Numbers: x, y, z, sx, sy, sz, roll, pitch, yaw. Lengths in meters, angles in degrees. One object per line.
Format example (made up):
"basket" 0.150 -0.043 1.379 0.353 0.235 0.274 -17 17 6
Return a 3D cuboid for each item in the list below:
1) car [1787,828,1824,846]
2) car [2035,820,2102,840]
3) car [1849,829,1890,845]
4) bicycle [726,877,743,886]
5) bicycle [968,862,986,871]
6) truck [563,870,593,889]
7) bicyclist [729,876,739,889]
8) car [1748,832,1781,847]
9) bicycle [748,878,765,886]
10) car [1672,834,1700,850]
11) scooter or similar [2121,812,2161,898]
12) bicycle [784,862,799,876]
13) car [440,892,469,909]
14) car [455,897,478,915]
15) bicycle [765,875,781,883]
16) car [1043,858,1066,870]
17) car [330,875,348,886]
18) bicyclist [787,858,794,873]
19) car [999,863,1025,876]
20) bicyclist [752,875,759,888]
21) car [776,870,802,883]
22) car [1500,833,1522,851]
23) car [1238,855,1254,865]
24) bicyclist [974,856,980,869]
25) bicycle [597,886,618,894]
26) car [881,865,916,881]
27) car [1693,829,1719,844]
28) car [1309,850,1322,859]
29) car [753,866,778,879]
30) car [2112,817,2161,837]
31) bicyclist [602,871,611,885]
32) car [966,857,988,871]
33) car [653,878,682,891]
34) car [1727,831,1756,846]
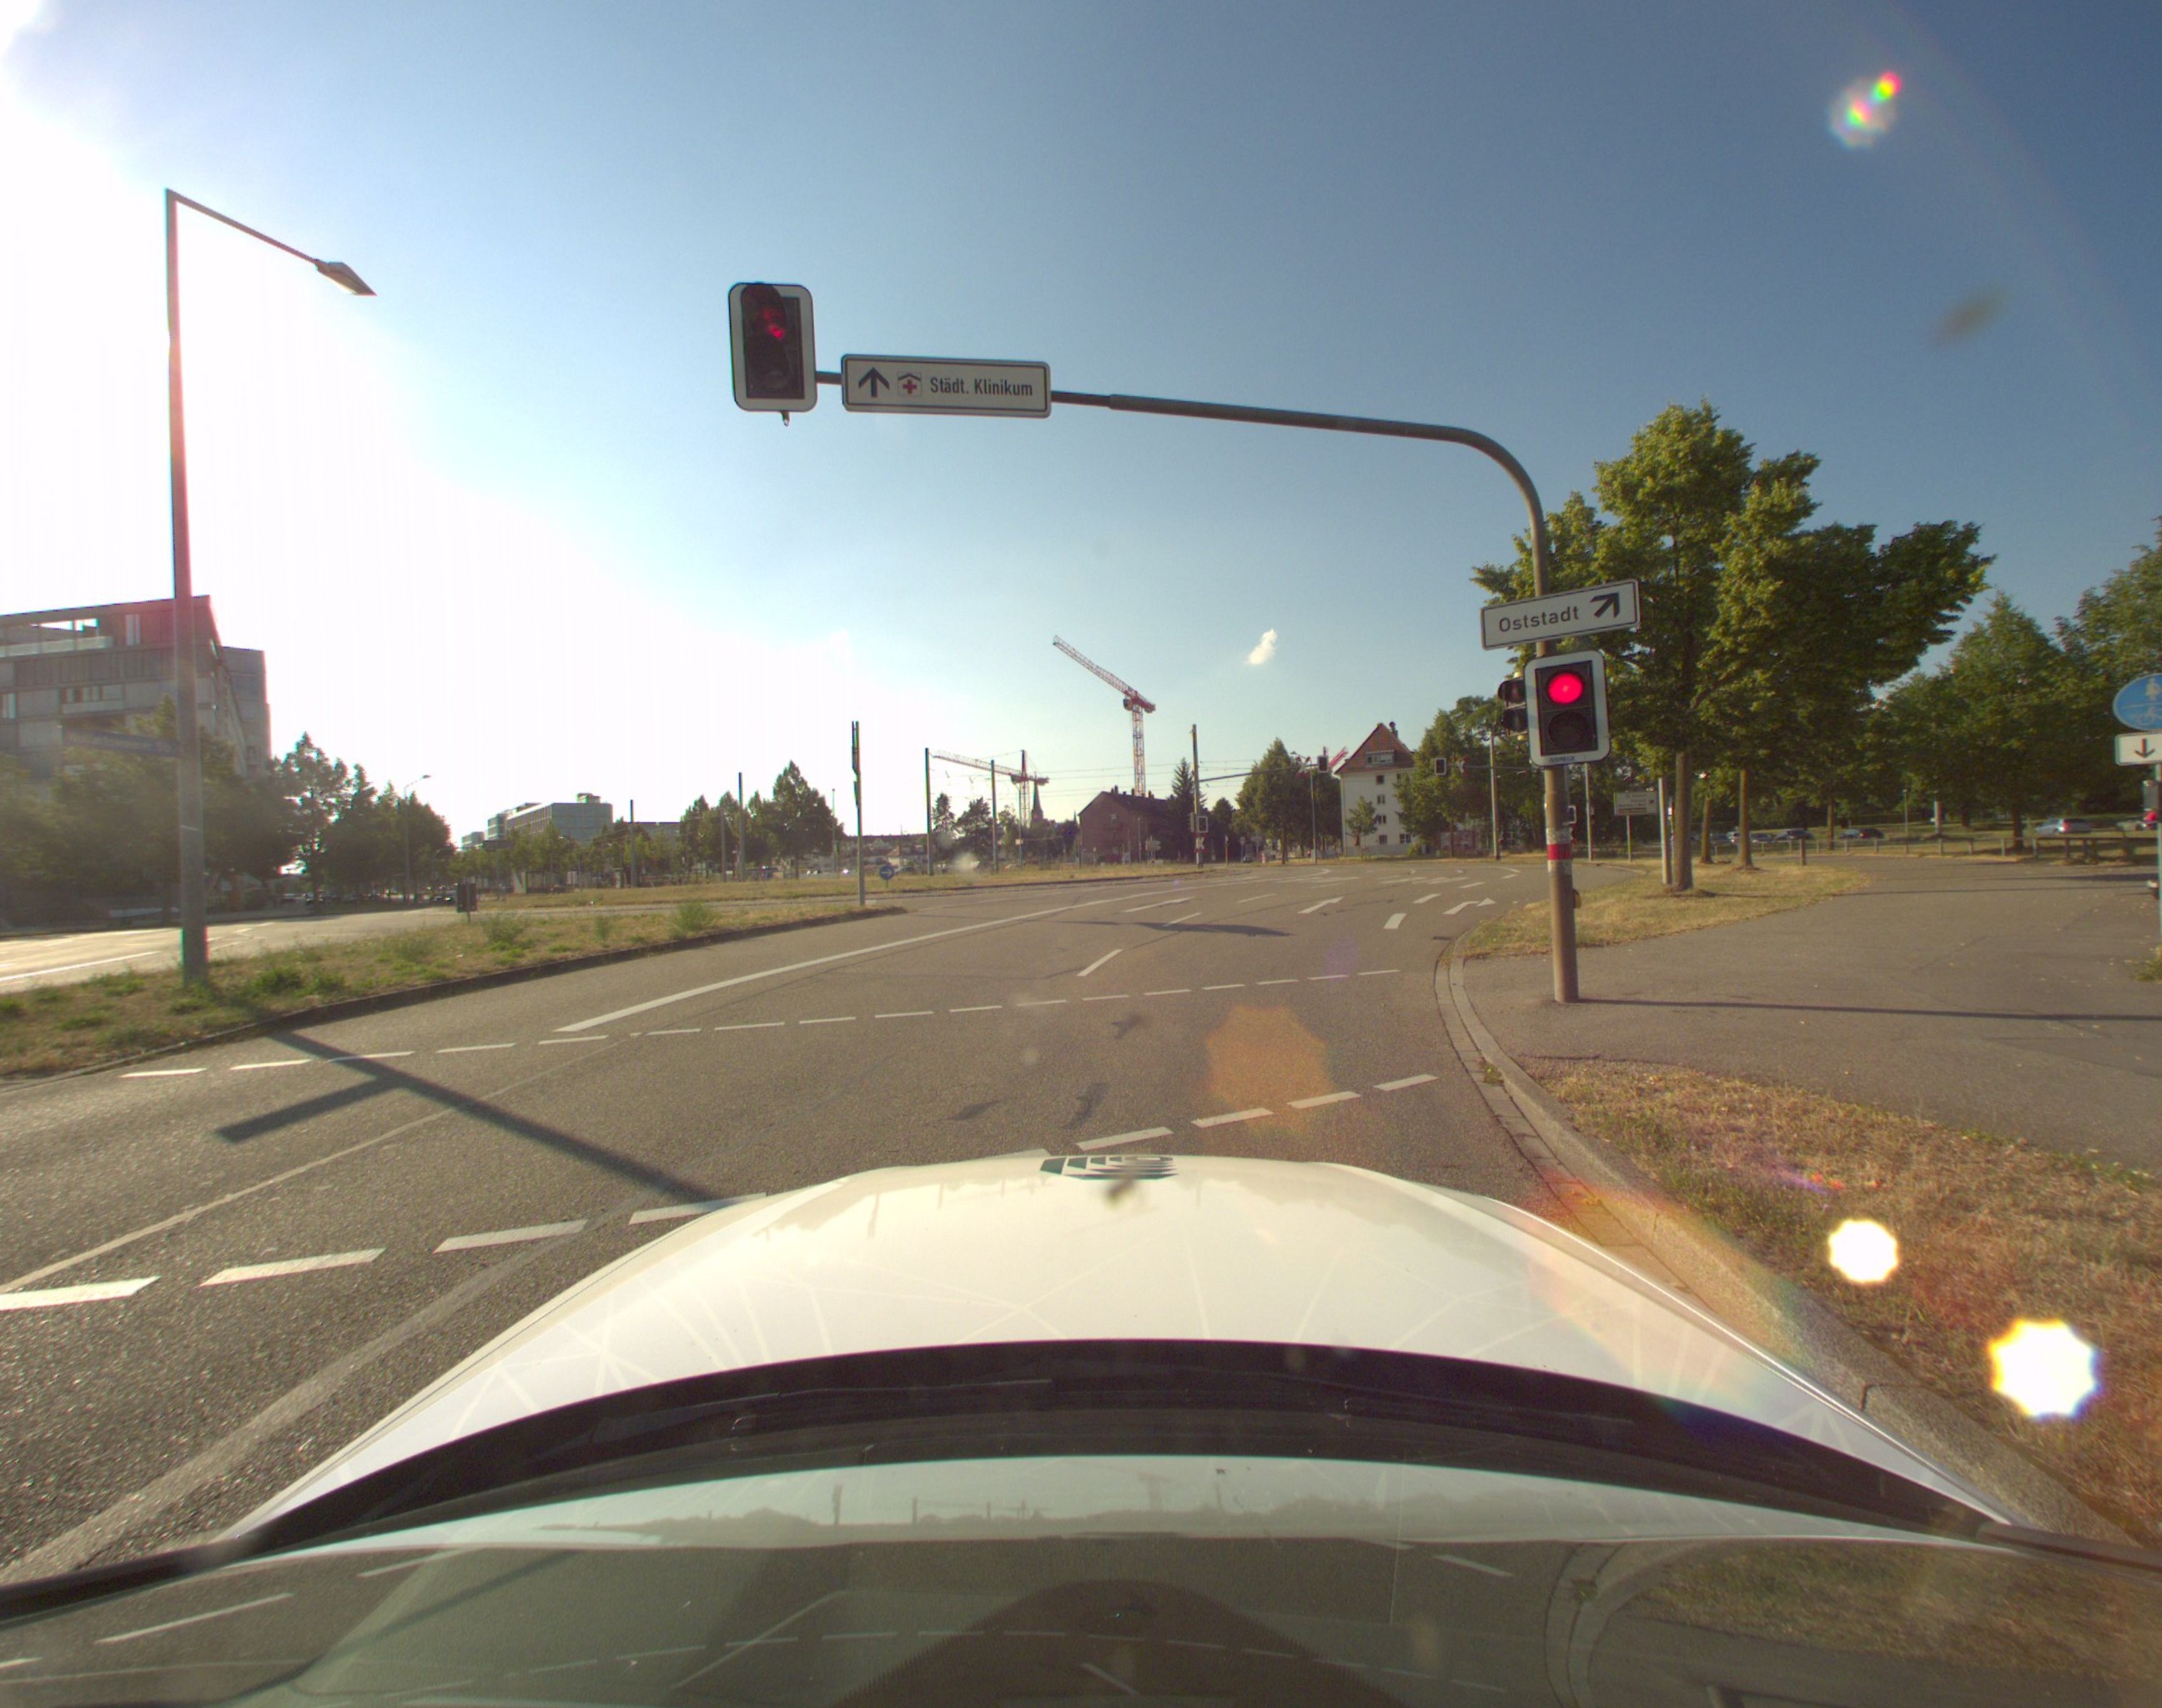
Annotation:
"car" 63.357 -1.475 71.290 1.586 1.402 3.993 -3 -1 30
"car" 78.277 -1.845 64.614 1.804 1.403 4.023 -3 -1 26
"car" 67.088 -1.422 69.357 1.586 1.310 3.993 -3 -1 30
"bicycle" -38.405 3.016 90.270 1.622 0.860 0.541 -2 0 -24
"bicycle" -12.308 1.463 96.476 1.983 0.918 0.429 -2 0 -4
"truck" -92.660 4.737 150.045 3.156 3.231 7.085 -2 0 -44
"bicyclist" -38.469 3.192 90.245 0.958 1.357 0.688 -2 0 -25
"car" 61.250 -1.270 73.046 1.586 1.221 3.993 -3 -1 30
"bicycle" -36.366 3.131 91.272 1.723 0.744 0.477 -2 0 -23
"car" 56.162 -1.074 75.628 1.586 1.402 3.993 -3 -1 30
"scooter or similar" 15.465 -0.010 11.640 1.172 1.160 0.340 -4 -3 -23
"bicycle" -33.144 1.712 93.174 1.548 1.473 0.475 -2 0 -28
"car" -63.836 4.719 82.993 2.011 1.475 3.952 -2 0 -42
"car" -58.547 4.926 77.593 1.493 1.475 3.260 -2 0 -42
"bicycle" -34.141 2.745 90.272 1.622 0.860 0.541 -2 0 -24
"car" -4.850 1.802 149.690 3.776 2.014 1.680 -3 -1 20
"car" -110.507 3.909 121.347 1.800 1.556 3.950 0 -1 -45
"bicyclist" -33.238 1.268 93.154 0.610 1.672 0.473 -2 -1 -28
"car" -11.201 2.576 133.036 3.776 2.014 1.680 -3 -1 20
"bicyclist" -36.492 3.076 91.236 0.654 1.325 0.515 -2 0 -21
"car" -47.294 3.691 132.019 3.948 2.013 2.013 -3 0 36
"car" 42.947 -1.164 81.262 1.754 1.618 3.993 -3 -1 30
"car" 25.439 0.911 125.131 1.441 1.300 3.570 -3 0 27
"bicyclist" -12.355 0.993 96.475 0.621 1.511 0.418 -2 0 -4
"bicycle" -47.206 3.603 81.135 0.474 0.744 1.732 -3 0 45
"car" -23.735 2.479 106.068 4.013 1.816 1.981 -2 0 -30
"car" 64.342 -1.825 83.928 1.586 1.402 3.993 -3 -1 30
"car" 48.896 0.176 169.971 1.975 1.780 4.023 -1 -1 26
"car" -53.305 3.110 137.490 3.948 2.013 2.013 -3 0 36
"car" 82.579 -2.111 63.022 1.804 1.403 4.023 -3 -1 26
"bicyclist" -47.260 2.421 81.118 0.658 1.325 0.512 -2 0 -45
"car" -14.949 1.488 116.781 1.930 1.854 3.965 -2 0 -27
"car" -44.690 3.333 88.093 2.680 1.261 1.104 -2 0 -27
"car" 67.114 -1.563 82.784 1.586 1.402 3.993 -3 -1 30
